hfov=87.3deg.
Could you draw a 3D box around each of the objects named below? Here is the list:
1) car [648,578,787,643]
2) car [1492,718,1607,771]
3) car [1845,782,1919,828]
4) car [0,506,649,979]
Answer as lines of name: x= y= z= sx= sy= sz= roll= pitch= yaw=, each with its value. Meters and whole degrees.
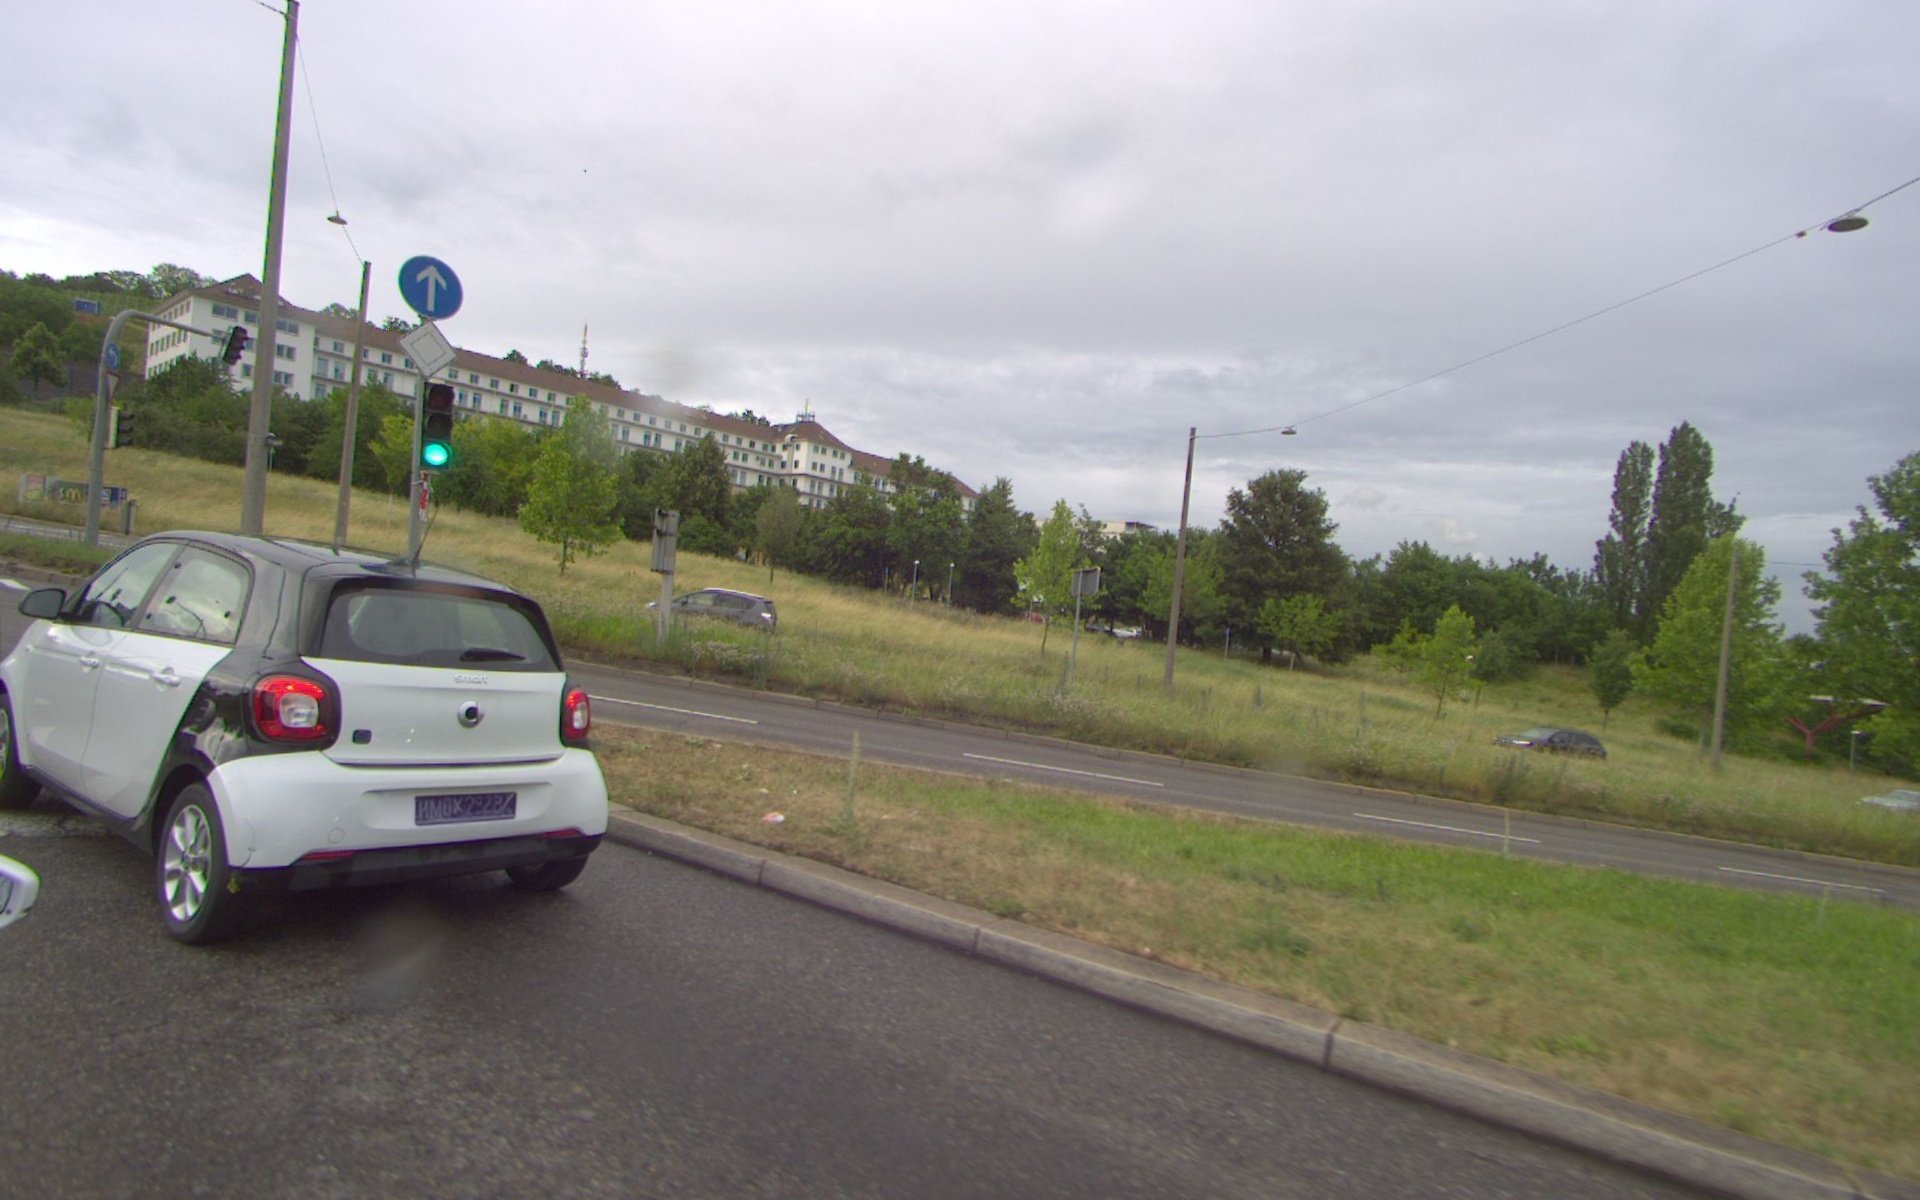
car: x=-7.669 y=0.363 z=32.112 sx=3.889 sy=1.554 sz=2.000 roll=7 pitch=-2 yaw=-4
car: x=23.446 y=5.740 z=40.045 sx=3.903 sy=1.424 sz=1.596 roll=10 pitch=-3 yaw=-16
car: x=38.419 y=8.464 z=40.994 sx=3.903 sy=1.424 sz=1.596 roll=10 pitch=-3 yaw=-16
car: x=-3.407 y=0.459 z=5.006 sx=3.396 sy=1.520 sz=1.660 roll=5 pitch=-2 yaw=34
